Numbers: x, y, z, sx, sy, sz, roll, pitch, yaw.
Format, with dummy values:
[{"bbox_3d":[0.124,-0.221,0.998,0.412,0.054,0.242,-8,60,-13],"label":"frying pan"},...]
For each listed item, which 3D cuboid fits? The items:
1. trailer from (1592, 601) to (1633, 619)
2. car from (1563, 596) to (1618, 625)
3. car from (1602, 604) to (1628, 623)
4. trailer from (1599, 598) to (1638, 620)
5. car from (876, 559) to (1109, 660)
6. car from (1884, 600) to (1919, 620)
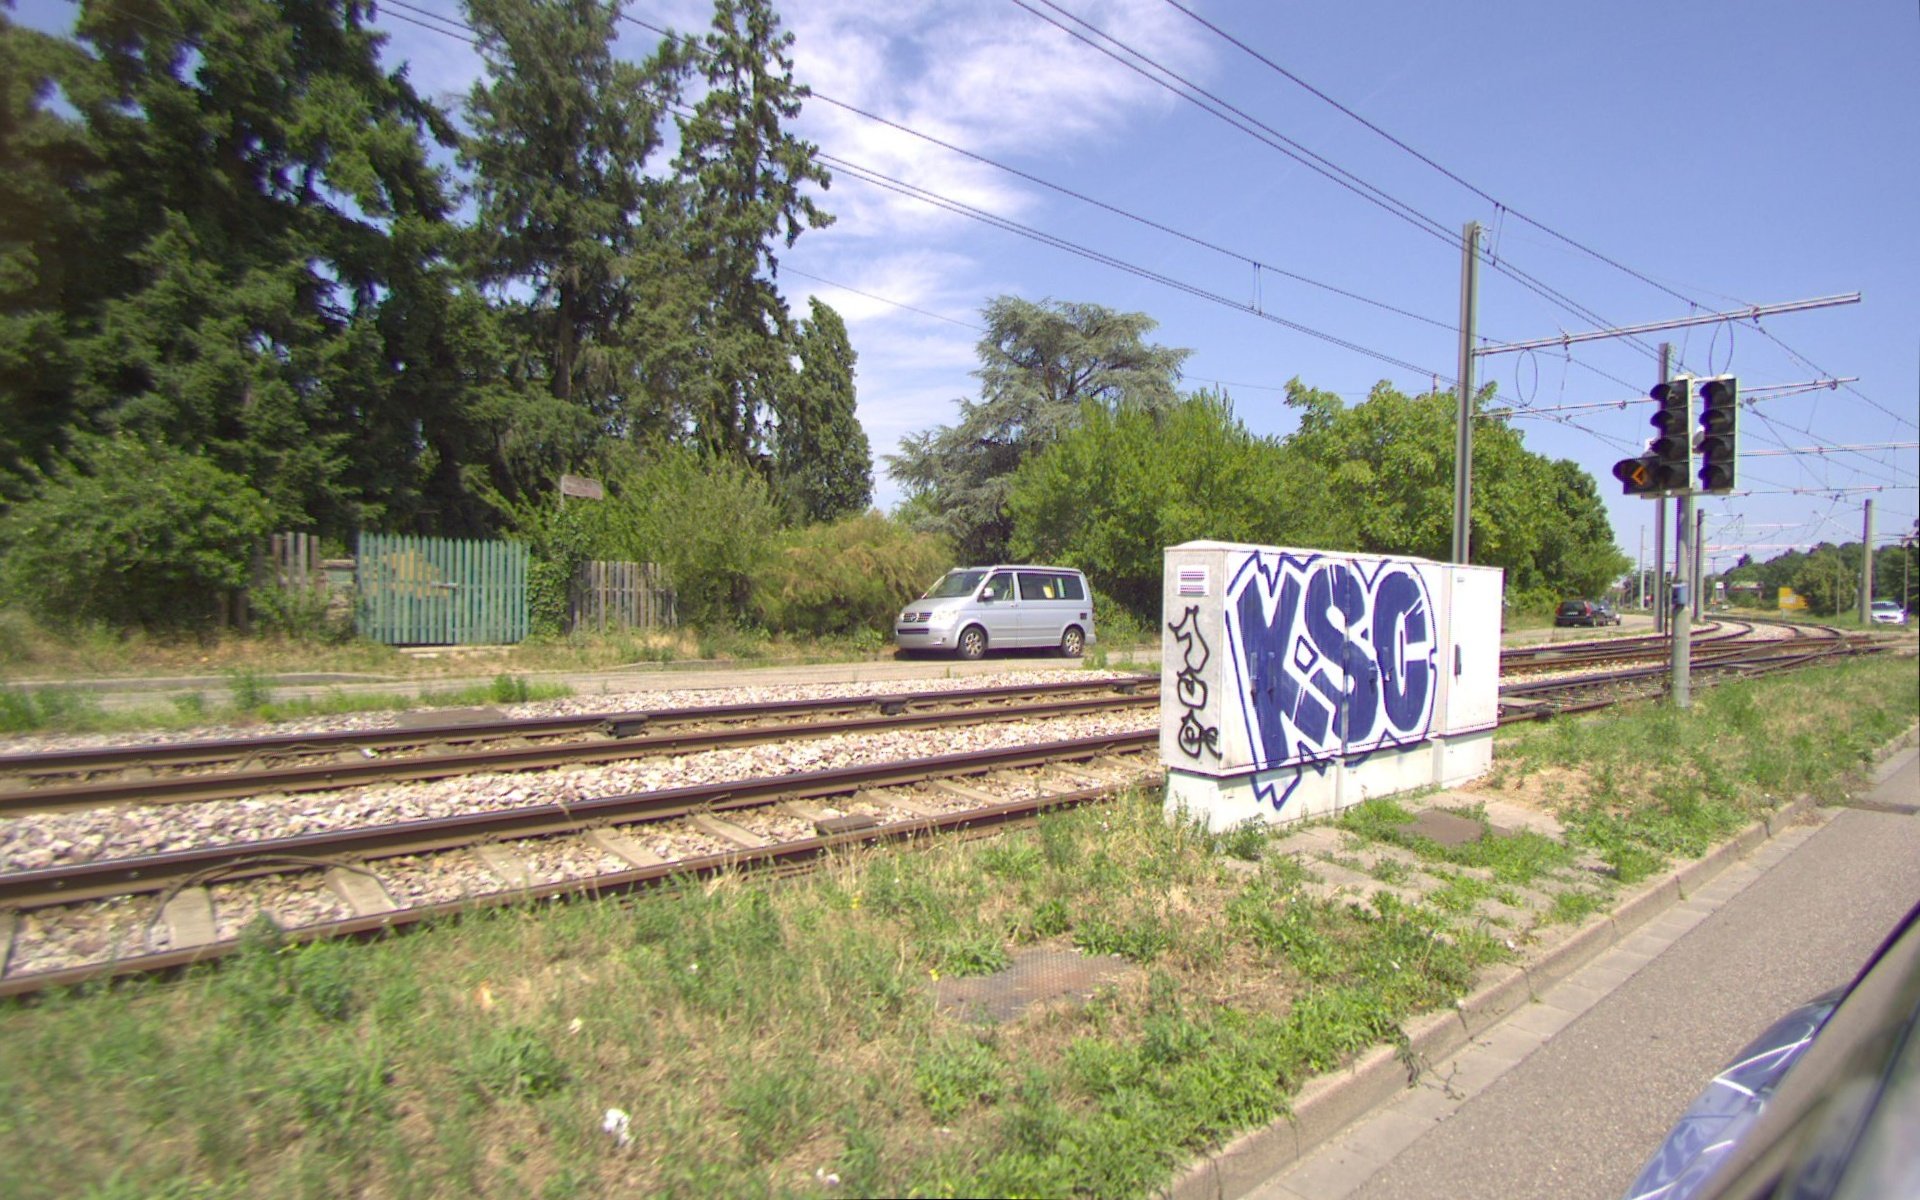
[{"bbox_3d":[38.790,0.621,60.135,1.418,1.007,3.939,-1,-2,42],"label":"trailer"},{"bbox_3d":[34.587,0.534,55.487,1.796,1.444,4.669,2,2,42],"label":"car"},{"bbox_3d":[63.456,1.285,98.067,1.818,1.677,4.766,2,2,30],"label":"car"},{"bbox_3d":[41.197,0.534,63.308,1.461,1.237,3.940,2,2,42],"label":"trailer"},{"bbox_3d":[0.805,0.115,21.609,4.983,1.905,2.039,-1,2,-43],"label":"car"},{"bbox_3d":[66.109,0.698,71.061,1.626,1.265,3.117,2,2,40],"label":"car"}]
